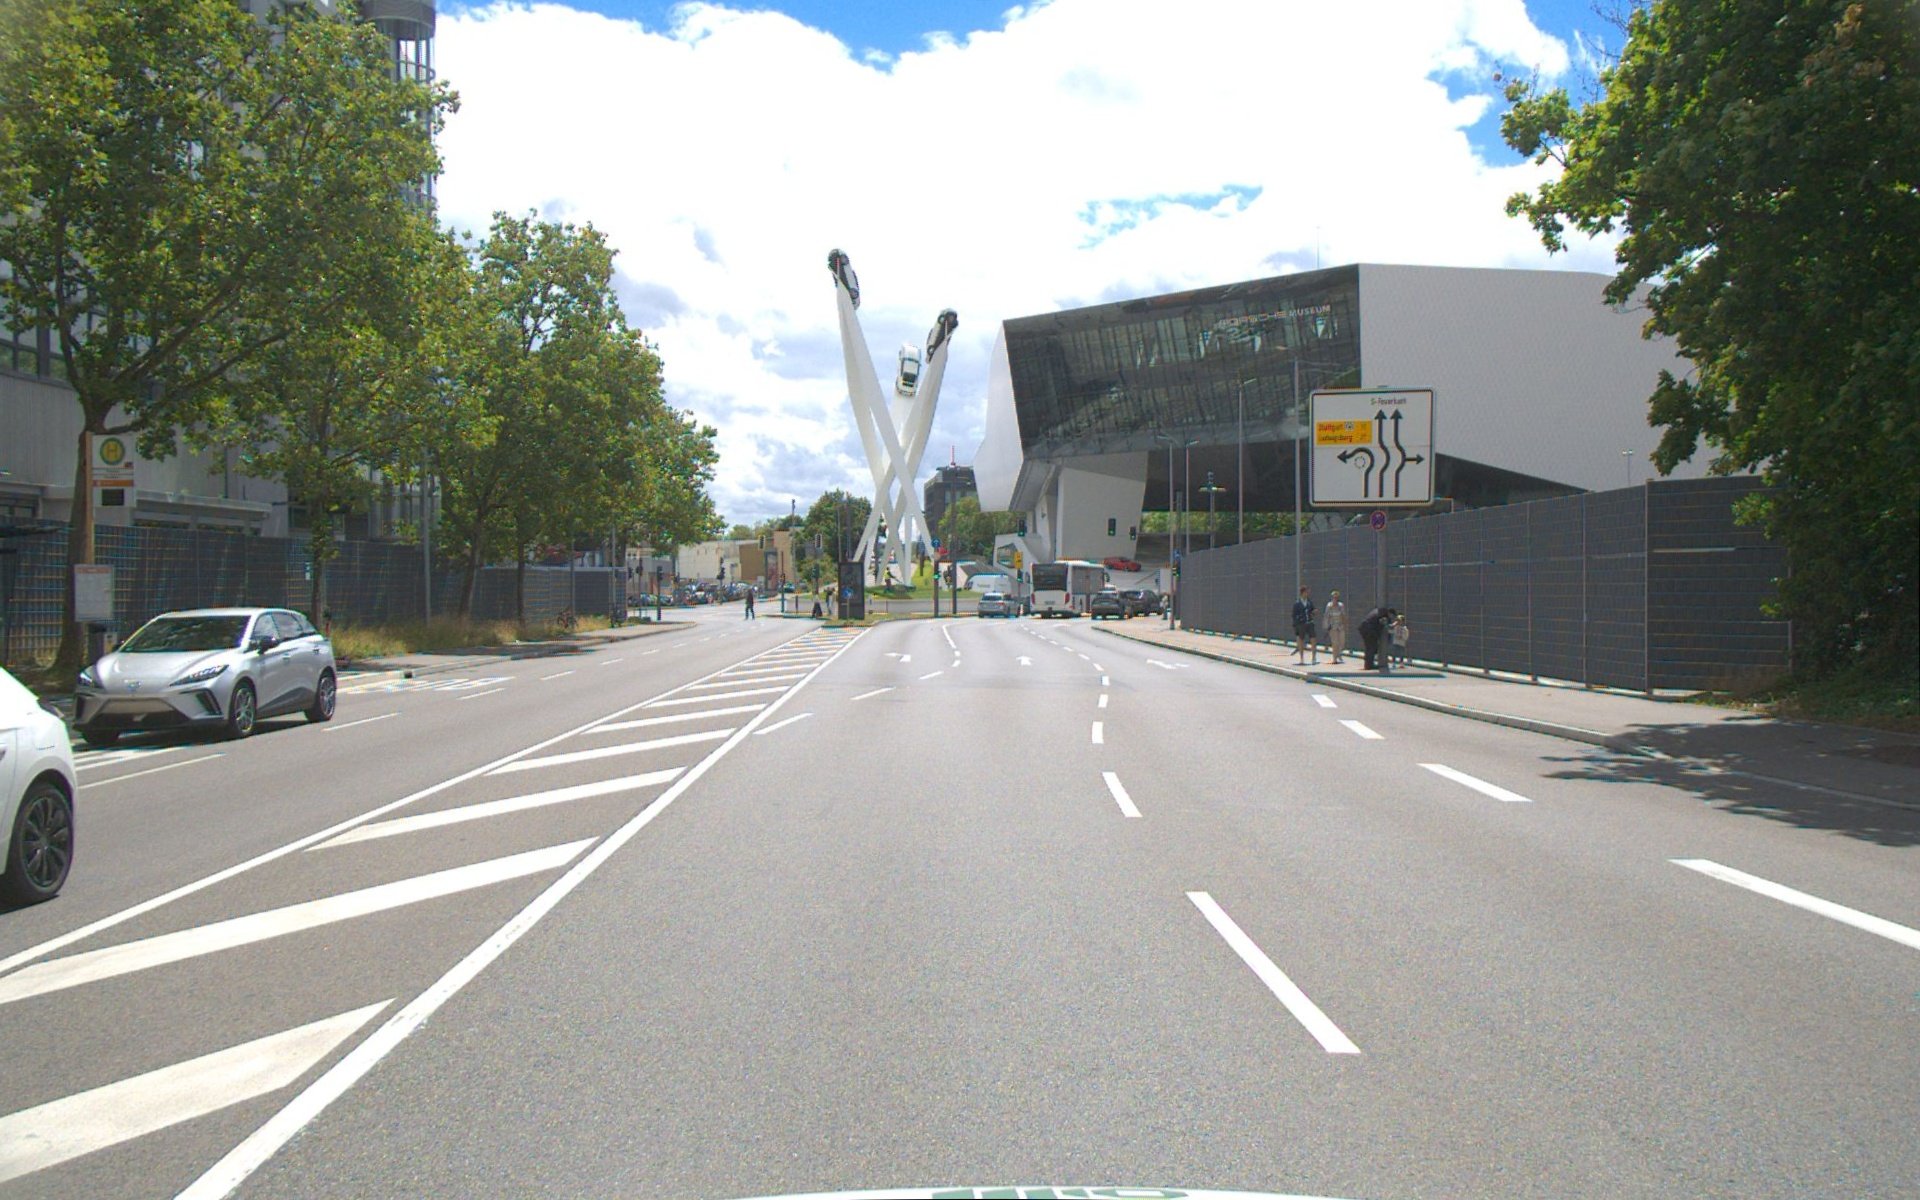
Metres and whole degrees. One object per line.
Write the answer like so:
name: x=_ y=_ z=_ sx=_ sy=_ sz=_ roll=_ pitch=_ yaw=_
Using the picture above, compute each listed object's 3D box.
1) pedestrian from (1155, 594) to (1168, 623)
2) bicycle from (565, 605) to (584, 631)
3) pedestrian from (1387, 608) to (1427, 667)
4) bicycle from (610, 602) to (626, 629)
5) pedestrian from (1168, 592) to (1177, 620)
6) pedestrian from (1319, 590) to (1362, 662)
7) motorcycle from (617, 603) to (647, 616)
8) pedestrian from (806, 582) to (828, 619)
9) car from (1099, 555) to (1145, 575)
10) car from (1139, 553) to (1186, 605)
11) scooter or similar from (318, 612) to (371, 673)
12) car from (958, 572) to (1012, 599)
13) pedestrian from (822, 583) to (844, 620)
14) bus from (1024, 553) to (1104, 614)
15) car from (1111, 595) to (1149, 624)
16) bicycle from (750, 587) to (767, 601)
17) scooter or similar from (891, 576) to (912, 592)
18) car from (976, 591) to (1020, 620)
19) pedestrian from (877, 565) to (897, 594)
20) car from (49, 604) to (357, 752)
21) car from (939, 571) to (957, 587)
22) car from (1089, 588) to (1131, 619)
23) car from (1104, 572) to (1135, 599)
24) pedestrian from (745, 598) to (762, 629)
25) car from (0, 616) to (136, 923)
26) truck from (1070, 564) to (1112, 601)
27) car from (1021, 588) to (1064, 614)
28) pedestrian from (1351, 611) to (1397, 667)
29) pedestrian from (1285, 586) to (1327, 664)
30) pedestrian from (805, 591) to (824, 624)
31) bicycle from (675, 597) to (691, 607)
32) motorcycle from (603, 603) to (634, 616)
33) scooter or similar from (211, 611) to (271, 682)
pedestrian: x=11.495 y=0.494 z=94.296 sx=0.645 sy=1.636 sz=0.823 roll=1 pitch=-1 yaw=10
bicycle: x=-15.457 y=0.715 z=66.308 sx=0.290 sy=1.023 sz=1.253 roll=1 pitch=-1 yaw=9
pedestrian: x=9.553 y=0.792 z=35.330 sx=0.699 sy=1.228 sz=0.599 roll=1 pitch=-1 yaw=2
bicycle: x=-15.037 y=0.687 z=72.750 sx=0.290 sy=1.151 sz=1.485 roll=1 pitch=-1 yaw=2
pedestrian: x=12.466 y=0.374 z=96.926 sx=0.454 sy=1.644 sz=0.663 roll=1 pitch=-1 yaw=1
pedestrian: x=8.722 y=0.586 z=37.891 sx=0.778 sy=1.625 sz=0.731 roll=1 pitch=-1 yaw=-2
motorcycle: x=-32.600 y=0.964 z=164.389 sx=2.842 sy=1.217 sz=0.921 roll=1 pitch=-1 yaw=17
pedestrian: x=-8.272 y=0.024 z=95.525 sx=0.932 sy=2.091 sz=0.951 roll=1 pitch=-1 yaw=17
car: x=16.519 y=-3.588 z=168.705 sx=1.986 sy=1.418 sz=4.442 roll=-5 pitch=11 yaw=-44
car: x=14.958 y=-1.461 z=122.042 sx=3.264 sy=3.565 sz=9.348 roll=1 pitch=-1 yaw=7
scooter or similar: x=-13.412 y=0.909 z=36.053 sx=0.512 sy=1.256 sz=1.318 roll=3 pitch=1 yaw=5
car: x=2.093 y=-1.216 z=140.149 sx=1.983 sy=2.209 sz=4.583 roll=2 pitch=-1 yaw=-42
pedestrian: x=-7.298 y=0.096 z=94.793 sx=0.932 sy=2.091 sz=0.951 roll=1 pitch=-1 yaw=17
bus: x=6.542 y=-0.918 z=101.939 sx=3.006 sy=3.421 sz=12.232 roll=1 pitch=-1 yaw=12
car: x=10.417 y=0.594 z=101.231 sx=1.951 sy=1.665 sz=4.003 roll=1 pitch=-1 yaw=11
bicycle: x=-20.152 y=-0.589 z=165.266 sx=1.573 sy=1.407 sz=0.492 roll=1 pitch=-1 yaw=-2
scooter or similar: x=-4.061 y=-1.114 z=114.318 sx=1.371 sy=1.043 sz=0.550 roll=-2 pitch=6 yaw=2
car: x=2.280 y=0.324 z=97.902 sx=1.951 sy=1.665 sz=4.003 roll=1 pitch=-1 yaw=11
pedestrian: x=-5.009 y=-1.421 z=114.047 sx=1.256 sy=1.847 sz=0.987 roll=-3 pitch=4 yaw=-3
car: x=-9.165 y=0.868 z=20.445 sx=1.840 sy=1.532 sz=4.190 roll=-2 pitch=0 yaw=0
car: x=-1.402 y=-2.442 z=191.502 sx=1.952 sy=1.664 sz=4.656 roll=1 pitch=2 yaw=0
car: x=8.617 y=0.193 z=94.971 sx=1.951 sy=1.665 sz=4.004 roll=1 pitch=1 yaw=11
car: x=12.161 y=-1.078 z=125.905 sx=1.951 sy=1.966 sz=4.244 roll=1 pitch=-1 yaw=11
pedestrian: x=-12.013 y=0.775 z=96.065 sx=0.849 sy=1.805 sz=1.031 roll=1 pitch=-1 yaw=-15
car: x=-5.369 y=0.838 z=7.060 sx=1.657 sy=1.439 sz=4.144 roll=-2 pitch=0 yaw=-1
truck: x=9.660 y=-1.233 z=121.544 sx=2.160 sy=2.560 sz=5.136 roll=1 pitch=-1 yaw=15
car: x=5.563 y=0.088 z=111.409 sx=1.951 sy=1.665 sz=4.002 roll=1 pitch=-1 yaw=17
pedestrian: x=8.789 y=0.816 z=35.129 sx=0.742 sy=1.169 sz=0.972 roll=1 pitch=-1 yaw=2
pedestrian: x=7.889 y=0.569 z=37.736 sx=0.778 sy=1.751 sz=0.731 roll=1 pitch=-1 yaw=-2
pedestrian: x=-8.157 y=0.432 z=92.719 sx=0.849 sy=1.805 sz=1.031 roll=1 pitch=-1 yaw=-15
bicycle: x=-26.353 y=0.203 z=157.255 sx=1.577 sy=0.881 sz=0.491 roll=1 pitch=-1 yaw=33
motorcycle: x=-33.463 y=0.925 z=161.985 sx=2.842 sy=1.217 sz=0.921 roll=1 pitch=-1 yaw=17
scooter or similar: x=-13.432 y=0.859 z=30.936 sx=0.512 sy=1.256 sz=1.317 roll=3 pitch=1 yaw=-2
